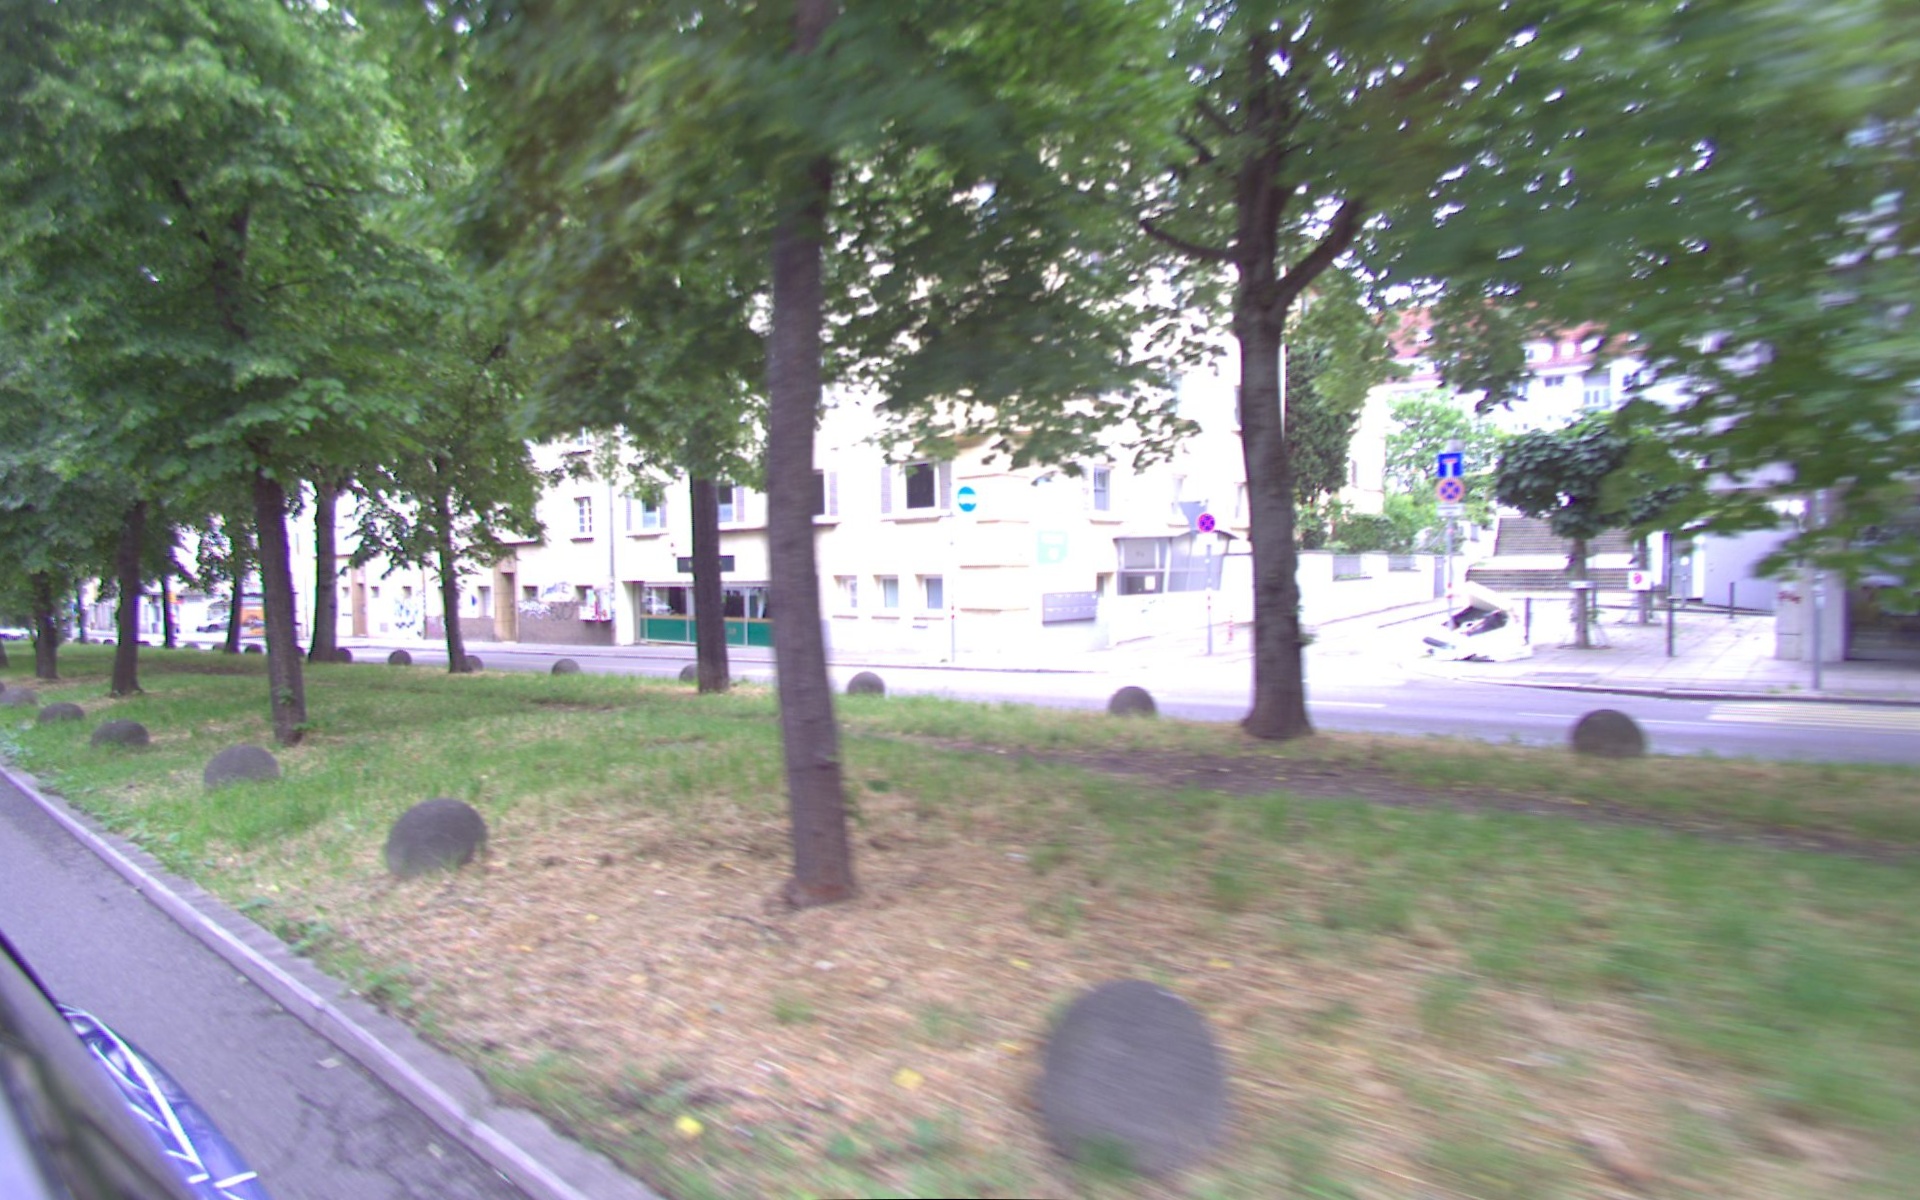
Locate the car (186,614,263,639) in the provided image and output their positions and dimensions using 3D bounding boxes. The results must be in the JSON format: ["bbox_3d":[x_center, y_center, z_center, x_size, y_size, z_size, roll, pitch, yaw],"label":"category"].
[{"bbox_3d":[-53.907,1.932,74.200,2.048,1.430,4.242,-3,2,44],"label":"car"}]

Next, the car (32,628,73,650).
[{"bbox_3d":[-73.277,3.173,81.741,4.362,1.641,1.929,-2,-1,41],"label":"car"}]
